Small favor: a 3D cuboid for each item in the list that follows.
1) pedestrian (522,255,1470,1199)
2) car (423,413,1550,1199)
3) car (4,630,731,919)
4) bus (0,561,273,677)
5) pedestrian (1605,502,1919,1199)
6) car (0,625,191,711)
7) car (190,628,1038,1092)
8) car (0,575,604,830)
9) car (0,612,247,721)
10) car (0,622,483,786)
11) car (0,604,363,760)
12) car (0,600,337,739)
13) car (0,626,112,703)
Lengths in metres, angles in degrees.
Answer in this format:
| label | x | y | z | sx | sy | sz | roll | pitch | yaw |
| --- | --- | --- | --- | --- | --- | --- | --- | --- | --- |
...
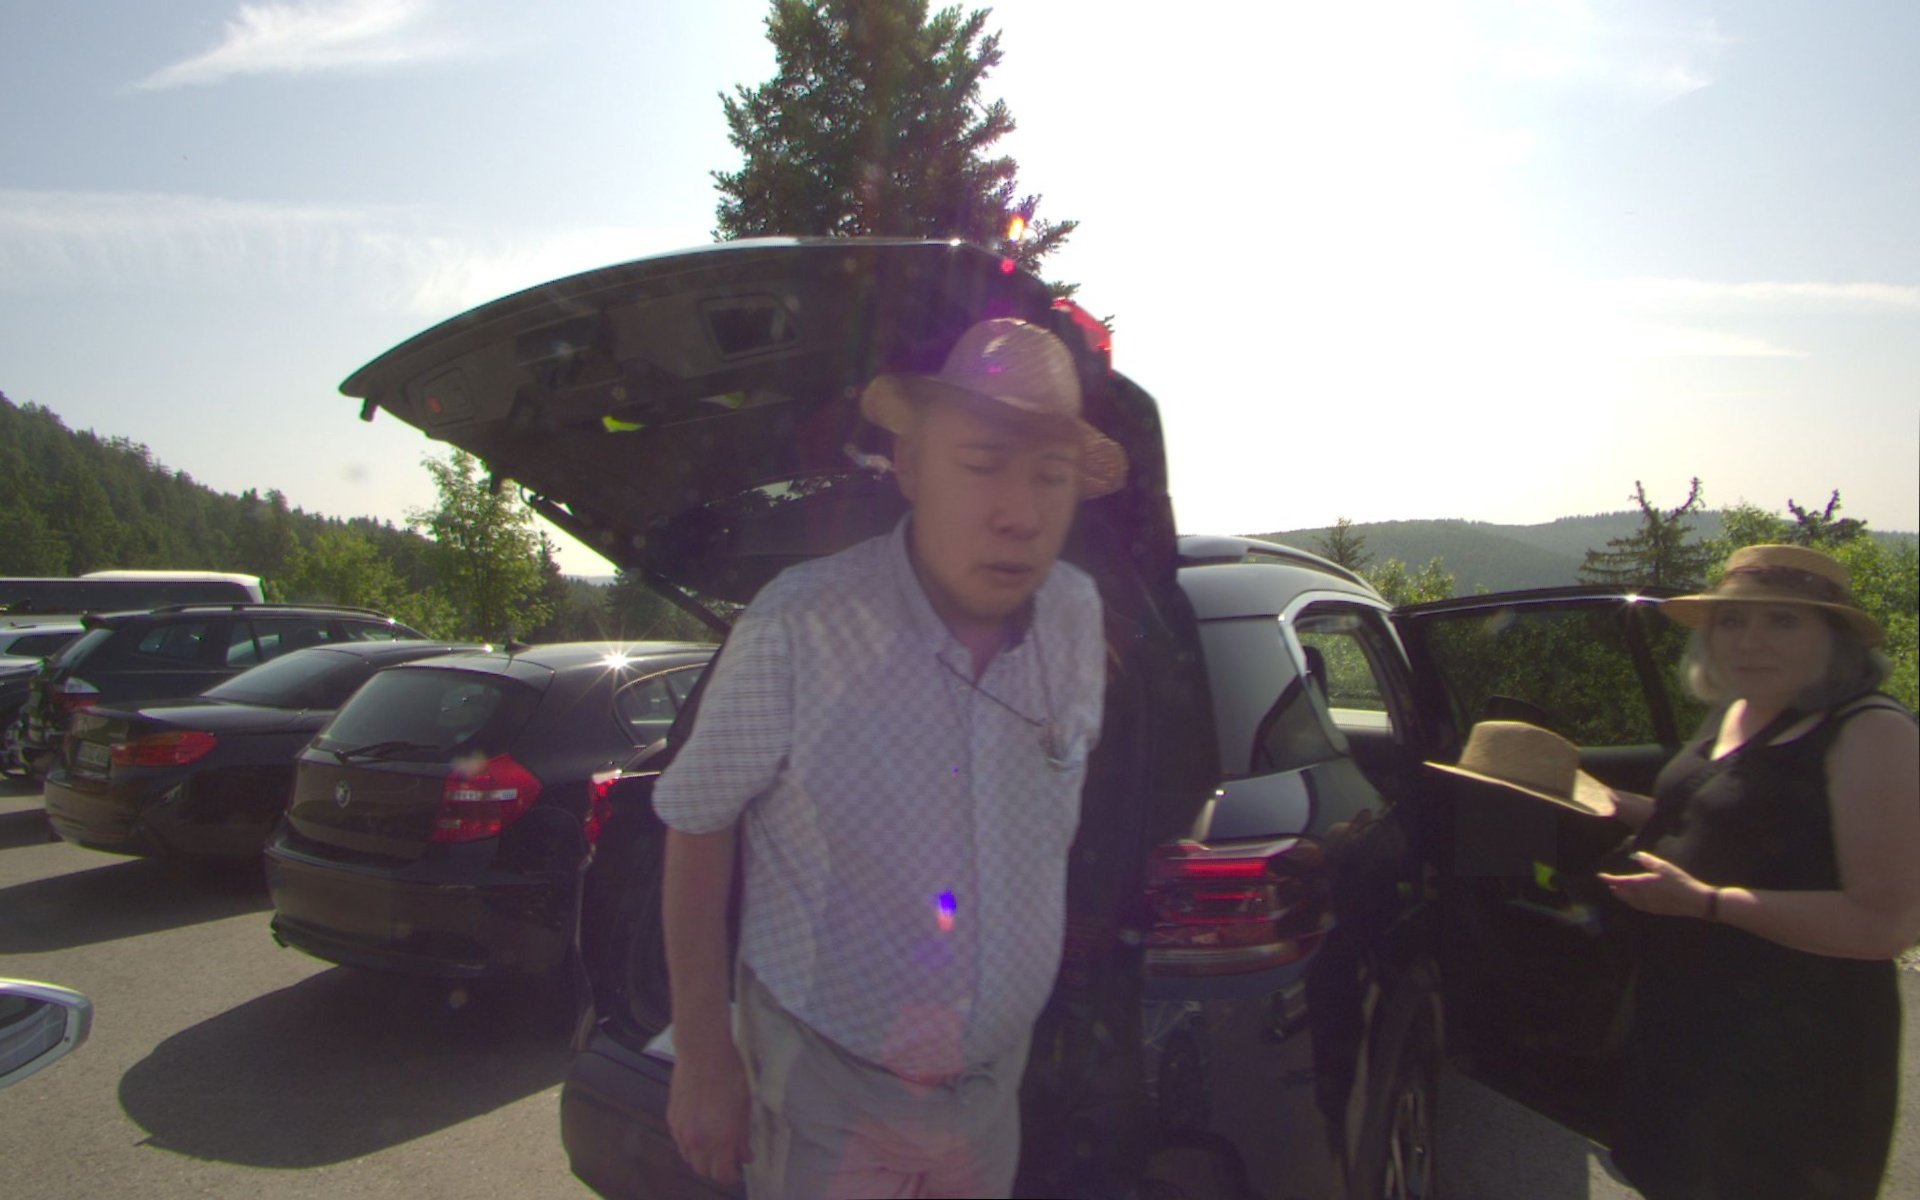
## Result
| label | x | y | z | sx | sy | sz | roll | pitch | yaw |
| --- | --- | --- | --- | --- | --- | --- | --- | --- | --- |
| pedestrian | -0.010 | 0.700 | 1.171 | 0.743 | 1.896 | 0.737 | 1 | 1 | -6 |
| car | 0.799 | 0.743 | 3.470 | 1.845 | 1.646 | 4.335 | -2 | -4 | 34 |
| car | -3.699 | 0.923 | 7.012 | 1.679 | 1.394 | 4.073 | -1 | -2 | 33 |
| bus | -30.178 | 0.599 | 32.239 | 12.987 | 3.580 | 3.018 | -2 | 1 | -40 |
| pedestrian | 1.424 | 0.697 | 1.664 | 0.529 | 1.633 | 0.713 | -2 | -2 | 31 |
| car | -17.279 | 1.270 | 19.022 | 1.601 | 1.417 | 3.968 | -1 | 0 | 40 |
| car | -1.237 | 0.865 | 5.215 | 1.677 | 1.394 | 4.077 | -1 | -2 | 30 |
| car | -5.921 | 0.687 | 8.816 | 1.923 | 1.718 | 4.922 | -1 | 0 | 42 |
| car | -14.610 | 1.063 | 16.841 | 1.640 | 1.574 | 3.968 | -1 | 0 | 40 |
| car | -7.757 | 0.960 | 10.924 | 1.816 | 1.286 | 4.224 | -1 | 0 | 40 |
| car | -9.996 | 0.906 | 12.261 | 1.816 | 1.574 | 4.224 | -1 | 0 | 40 |
| car | -12.043 | 0.909 | 14.238 | 2.024 | 1.673 | 5.010 | -1 | 0 | 40 |
| car | -20.194 | 1.356 | 20.566 | 1.839 | 1.468 | 3.968 | -1 | 0 | 40 |
